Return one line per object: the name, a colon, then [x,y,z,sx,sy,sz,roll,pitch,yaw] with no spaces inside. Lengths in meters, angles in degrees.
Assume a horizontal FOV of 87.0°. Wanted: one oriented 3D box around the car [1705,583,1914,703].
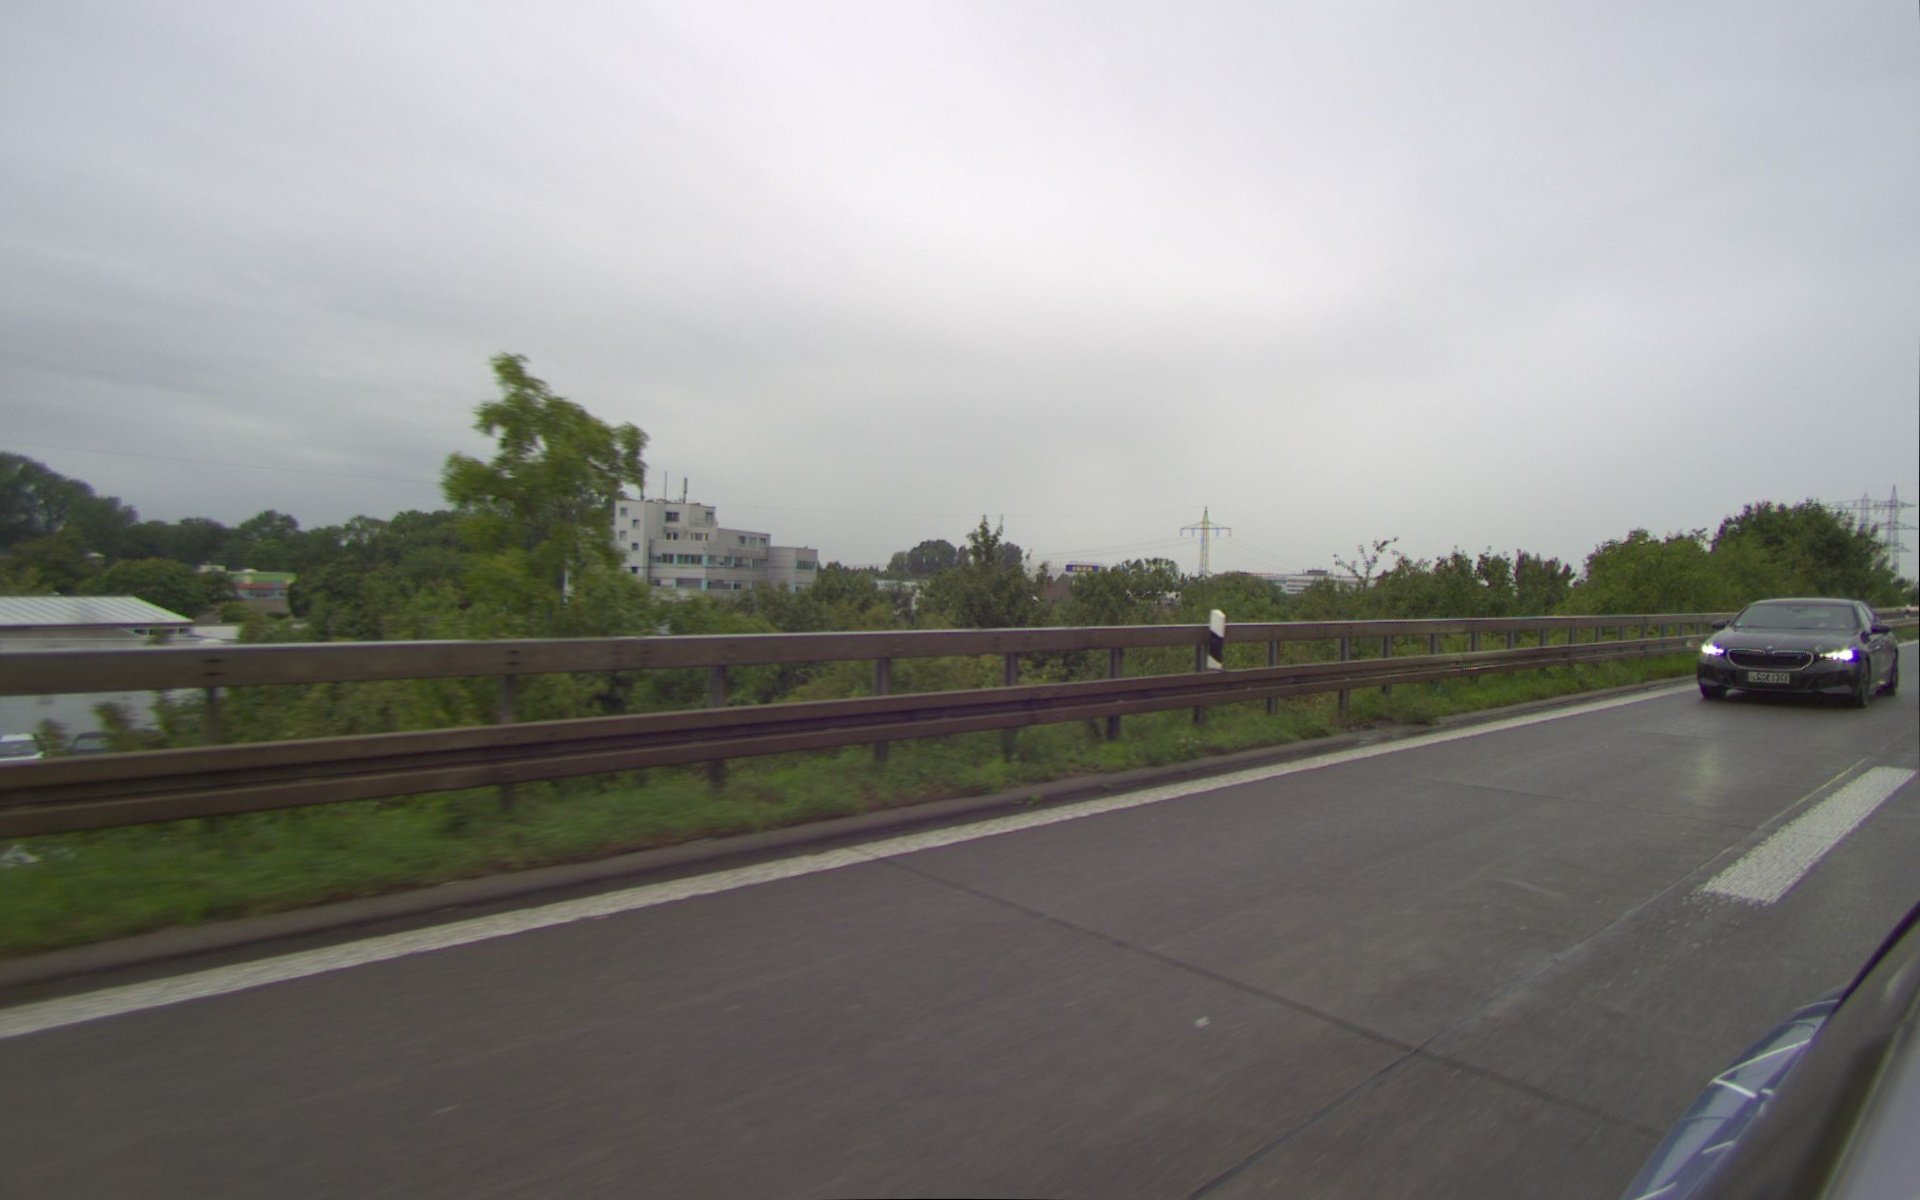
car: [12.897,0.578,15.277,4.130,1.560,1.860,1,-1,-42]
